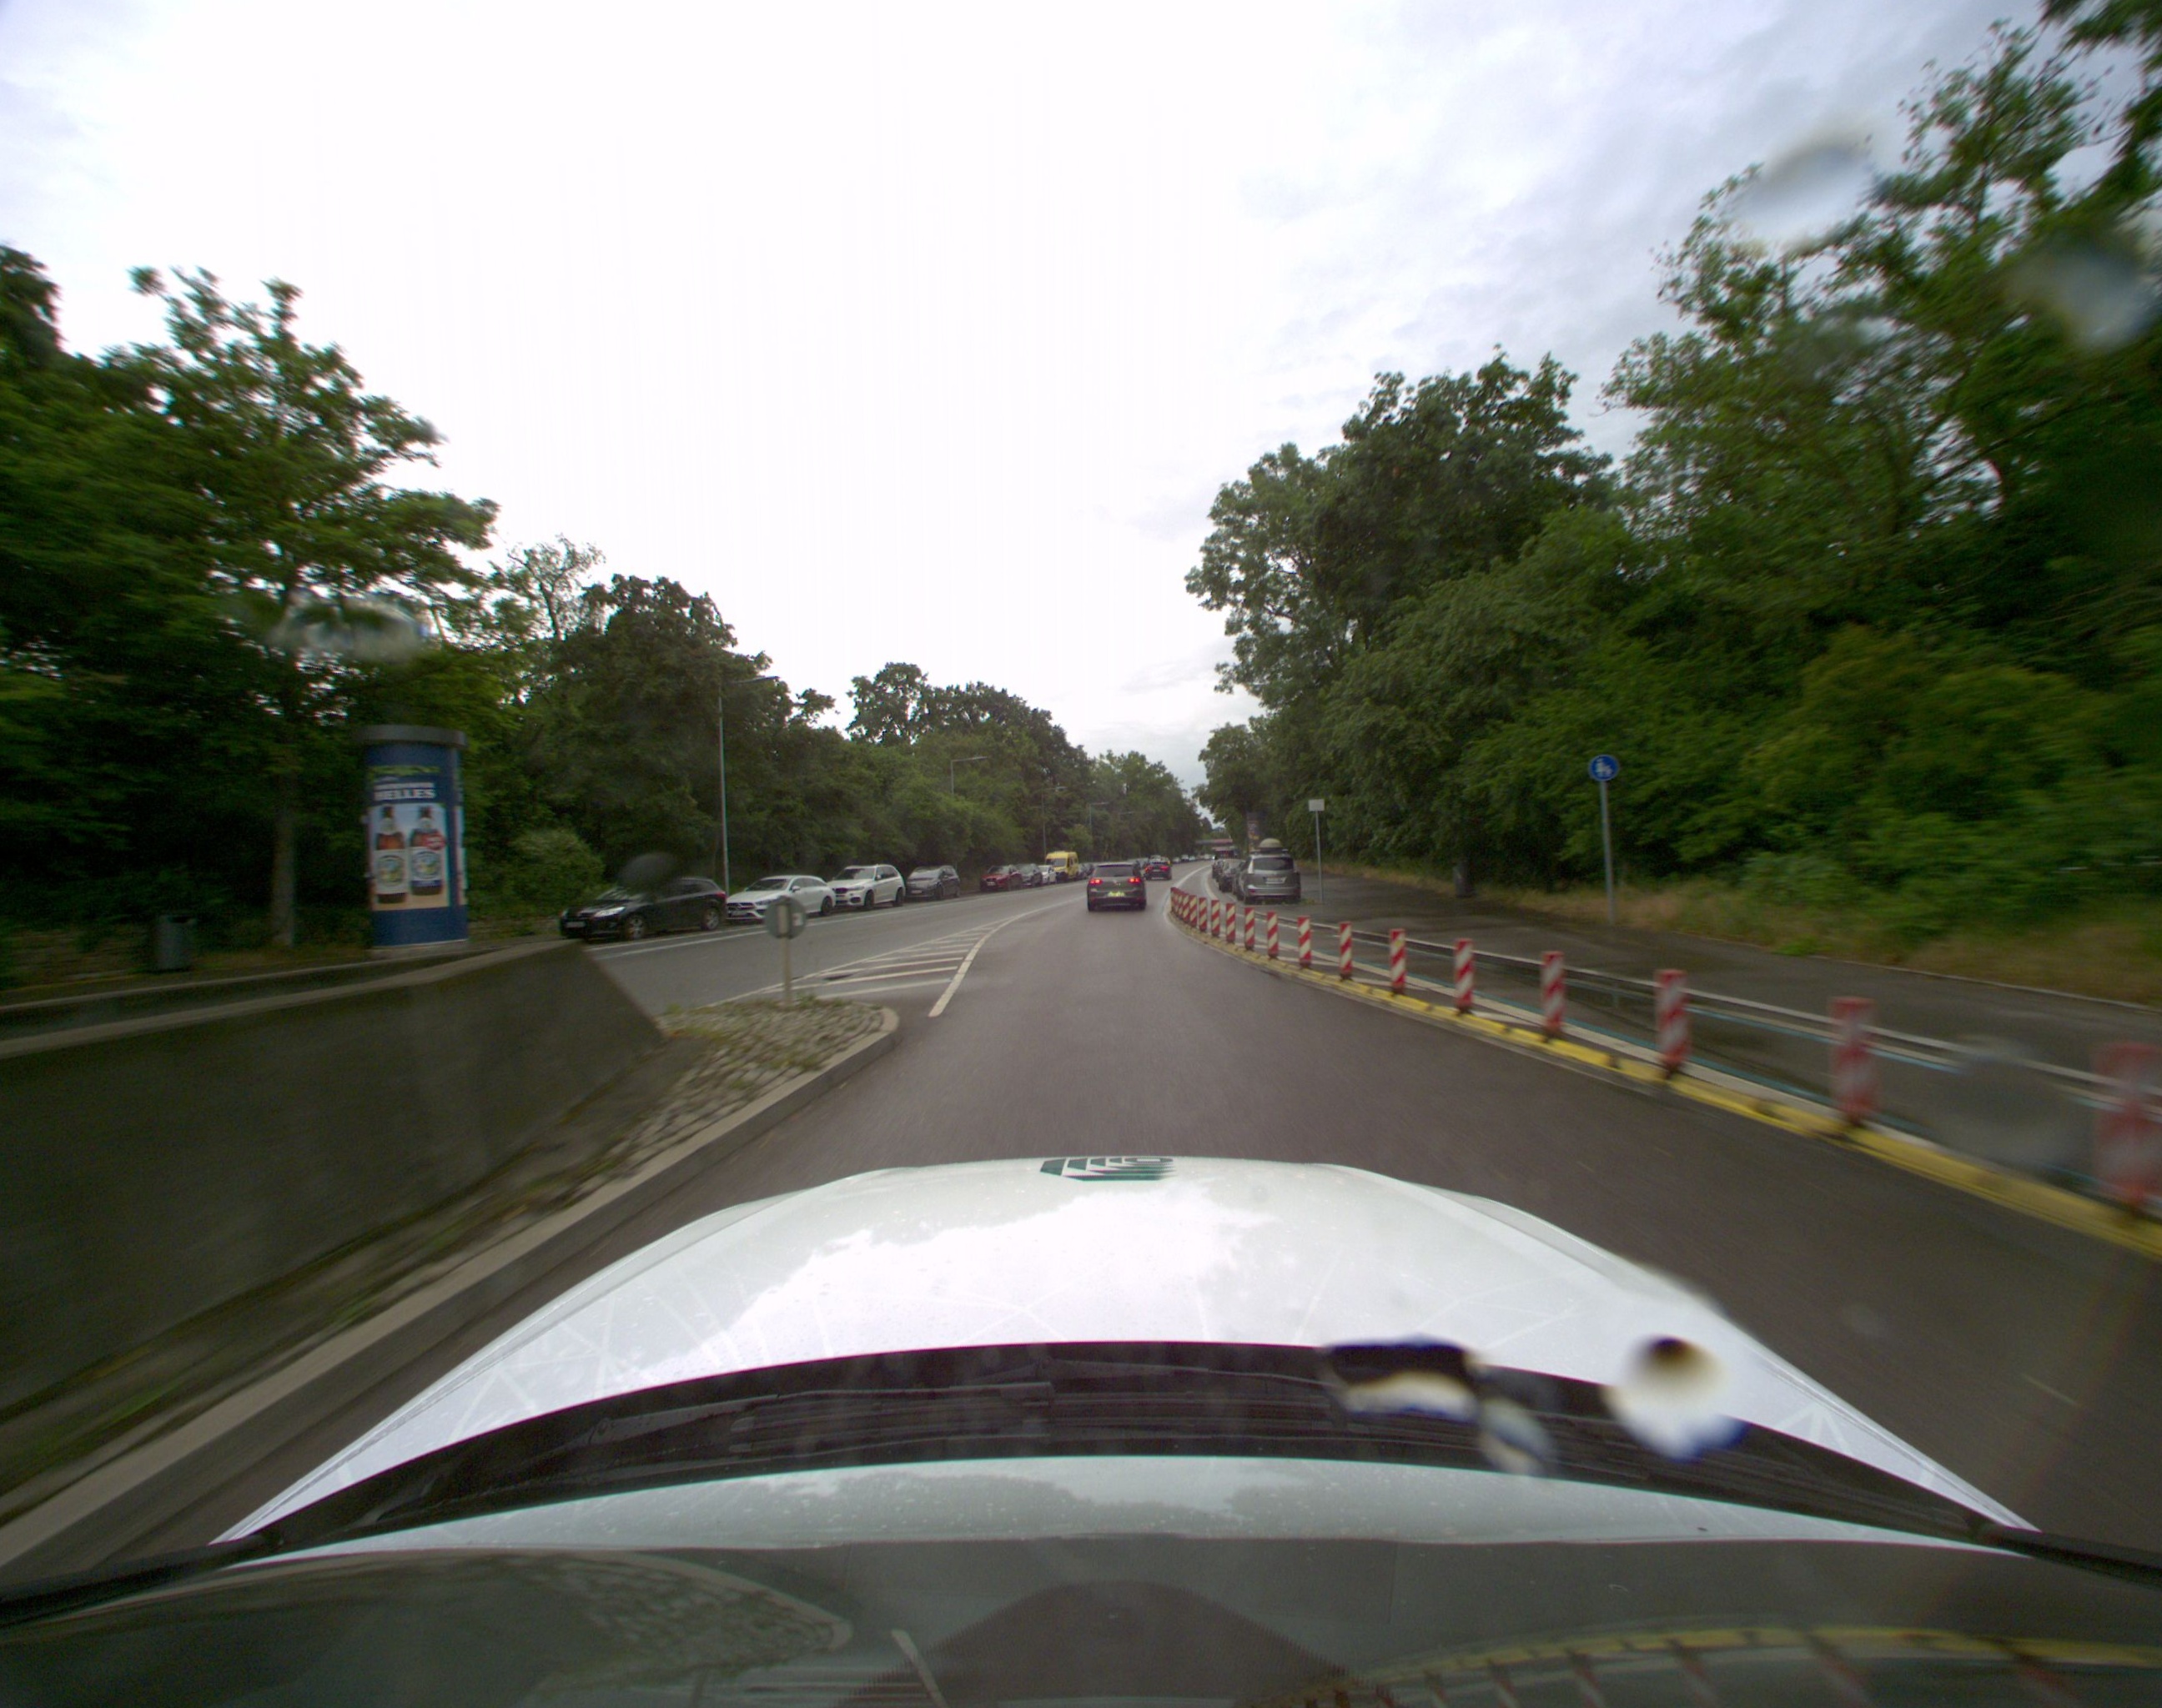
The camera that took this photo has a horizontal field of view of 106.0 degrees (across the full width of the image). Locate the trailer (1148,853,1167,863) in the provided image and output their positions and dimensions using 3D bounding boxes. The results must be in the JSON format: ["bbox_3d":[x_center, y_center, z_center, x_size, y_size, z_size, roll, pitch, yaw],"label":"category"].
[{"bbox_3d":[13.735,0.687,146.132,1.610,1.629,3.695,-3,0,42],"label":"trailer"}]

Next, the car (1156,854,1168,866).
[{"bbox_3d":[15.159,1.098,151.607,1.929,2.013,4.751,-2,0,8],"label":"car"}]

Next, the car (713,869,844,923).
[{"bbox_3d":[-9.647,1.289,26.435,1.707,1.460,4.722,-2,0,11],"label":"car"}]

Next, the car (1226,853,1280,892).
[{"bbox_3d":[6.676,0.695,31.932,1.688,1.413,3.710,-1,0,6],"label":"car"}]

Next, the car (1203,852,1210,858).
[{"bbox_3d":[34.543,0.342,224.379,1.810,1.706,3.869,-2,-1,11],"label":"car"}]

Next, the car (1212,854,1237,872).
[{"bbox_3d":[11.226,0.705,64.031,1.742,1.393,4.455,-1,0,7],"label":"car"}]

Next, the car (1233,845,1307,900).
[{"bbox_3d":[6.138,0.567,26.885,1.813,1.615,4.259,-2,-1,6],"label":"car"}]

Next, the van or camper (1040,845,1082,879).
[{"bbox_3d":[-1.575,0.639,67.575,2.129,2.627,5.700,-3,0,12],"label":"van or camper"}]

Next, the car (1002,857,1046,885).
[{"bbox_3d":[-3.934,1.151,56.854,1.982,1.700,4.627,-3,0,9],"label":"car"}]

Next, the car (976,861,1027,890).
[{"bbox_3d":[-4.956,1.292,51.254,1.906,1.617,4.503,-3,-1,11],"label":"car"}]

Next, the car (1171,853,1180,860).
[{"bbox_3d":[21.579,0.605,185.516,1.662,1.513,3.641,-2,0,10],"label":"car"}]

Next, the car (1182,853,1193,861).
[{"bbox_3d":[27.347,0.729,208.827,2.144,2.013,5.047,-3,0,12],"label":"car"}]

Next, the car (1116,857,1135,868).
[{"bbox_3d":[5.516,1.064,100.962,1.685,1.300,4.205,-3,0,10],"label":"car"}]

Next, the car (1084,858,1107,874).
[{"bbox_3d":[1.527,1.188,83.870,1.592,1.510,3.990,-2,0,12],"label":"car"}]

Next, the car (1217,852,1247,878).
[{"bbox_3d":[9.140,0.635,49.498,1.551,1.460,3.684,-1,0,8],"label":"car"}]

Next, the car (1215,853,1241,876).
[{"bbox_3d":[9.791,0.704,54.289,1.648,1.465,3.911,0,0,10],"label":"car"}]

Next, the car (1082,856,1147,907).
[{"bbox_3d":[1.132,0.839,25.710,1.863,1.441,4.301,-1,-1,4],"label":"car"}]

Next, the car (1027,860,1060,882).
[{"bbox_3d":[-2.789,1.260,61.688,1.607,1.448,3.668,-4,0,11],"label":"car"}]

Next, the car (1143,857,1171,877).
[{"bbox_3d":[5.742,0.945,61.046,1.870,1.466,4.009,-1,0,8],"label":"car"}]

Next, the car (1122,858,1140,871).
[{"bbox_3d":[6.510,1.331,105.770,1.685,1.584,4.151,-3,0,10],"label":"car"}]

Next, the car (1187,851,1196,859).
[{"bbox_3d":[31.877,0.314,234.090,2.144,2.013,5.047,-3,0,12],"label":"car"}]

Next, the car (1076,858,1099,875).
[{"bbox_3d":[0.641,1.215,78.579,1.592,1.510,3.149,-2,0,12],"label":"car"}]

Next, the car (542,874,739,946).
[{"bbox_3d":[-10.911,1.330,20.642,1.737,1.445,4.603,-2,0,13],"label":"car"}]

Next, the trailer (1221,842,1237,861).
[{"bbox_3d":[21.953,-0.365,121.092,2.119,2.560,4.308,-2,0,9],"label":"trailer"}]

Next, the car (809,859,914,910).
[{"bbox_3d":[-8.481,1.133,31.948,1.981,1.765,4.974,-2,-1,10],"label":"car"}]

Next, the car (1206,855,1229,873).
[{"bbox_3d":[11.505,0.841,68.916,1.812,1.485,4.209,0,0,8],"label":"car"}]

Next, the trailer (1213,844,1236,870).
[{"bbox_3d":[13.240,0.242,75.198,1.894,2.247,4.781,-2,0,10],"label":"trailer"}]

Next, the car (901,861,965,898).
[{"bbox_3d":[-7.149,1.194,39.821,1.722,1.649,4.581,-2,0,7],"label":"car"}]

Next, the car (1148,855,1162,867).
[{"bbox_3d":[12.868,1.178,141.345,1.929,2.013,4.751,-2,0,8],"label":"car"}]

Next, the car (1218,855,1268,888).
[{"bbox_3d":[7.352,0.758,37.380,1.843,1.399,4.393,-1,-1,6],"label":"car"}]
